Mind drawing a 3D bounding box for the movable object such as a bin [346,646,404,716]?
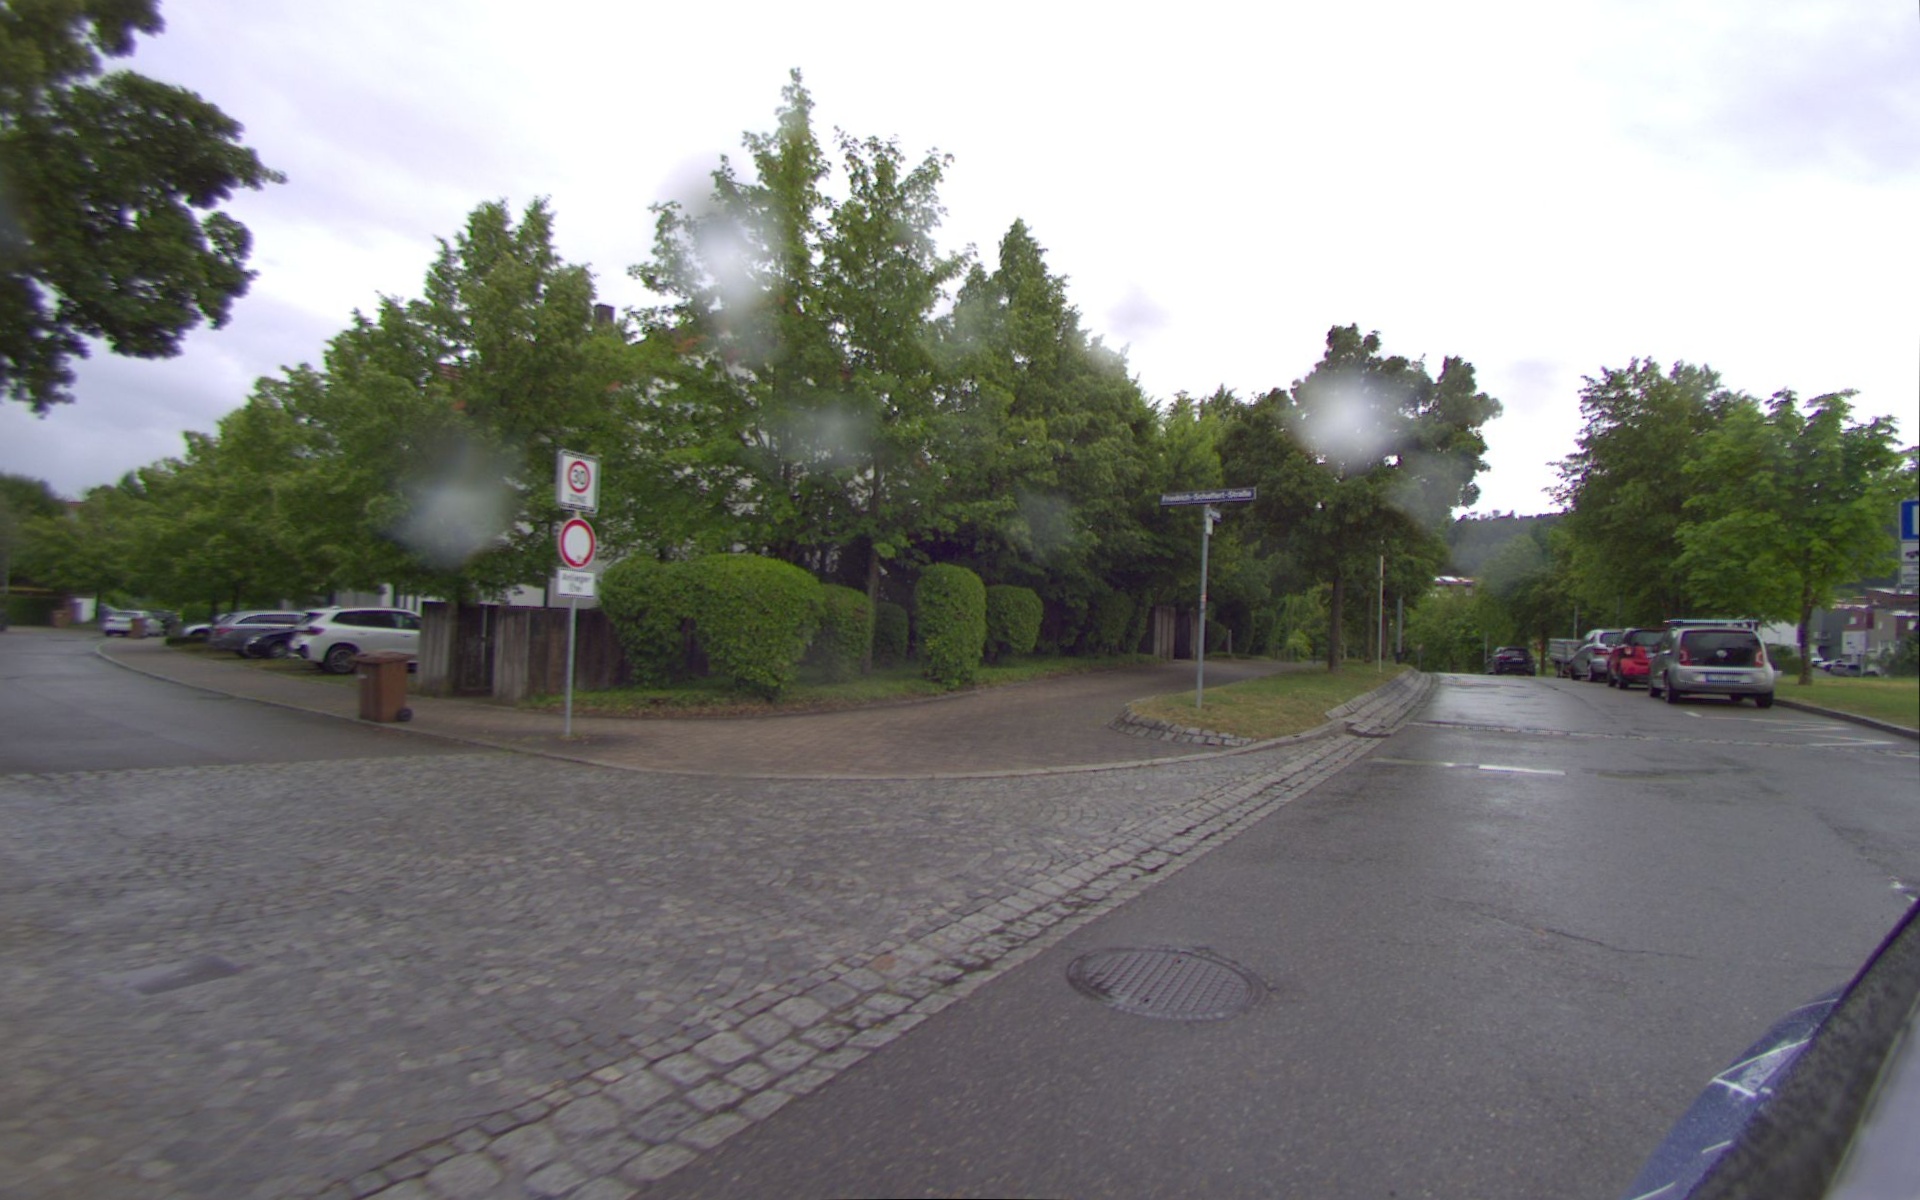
[{"bbox_3d":[-8.235,1.130,14.255,0.528,0.943,0.563,-1,-3,45],"label":"movable object such as a bin"}]

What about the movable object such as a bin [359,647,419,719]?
[{"bbox_3d":[-7.826,1.125,13.868,0.528,0.943,0.563,-1,-3,45],"label":"movable object such as a bin"}]

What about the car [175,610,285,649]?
[{"bbox_3d":[-33.631,1.345,46.687,3.932,1.685,1.775,0,0,-43],"label":"car"}]

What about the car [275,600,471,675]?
[{"bbox_3d":[-14.538,0.868,25.190,3.932,1.685,1.775,0,0,-43],"label":"car"}]

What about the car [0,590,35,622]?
[{"bbox_3d":[-57.925,0.352,61.210,1.762,1.833,3.856,2,-1,-24],"label":"car"}]

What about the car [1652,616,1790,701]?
[{"bbox_3d":[14.866,1.087,19.956,1.665,1.498,3.517,0,-1,29],"label":"car"}]

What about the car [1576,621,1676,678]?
[{"bbox_3d":[20.050,1.475,30.617,1.831,1.572,3.956,1,-2,23],"label":"car"}]

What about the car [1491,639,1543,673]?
[{"bbox_3d":[29.756,3.023,54.163,1.939,1.628,3.969,1,-4,21],"label":"car"}]

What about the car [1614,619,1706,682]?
[{"bbox_3d":[17.347,1.240,25.193,1.540,1.455,2.981,0,-2,28],"label":"car"}]

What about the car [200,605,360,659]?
[{"bbox_3d":[-21.320,0.950,31.810,3.932,1.553,1.775,0,0,-43],"label":"car"}]

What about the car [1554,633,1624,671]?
[{"bbox_3d":[23.602,1.913,38.080,1.714,1.297,3.302,1,-2,23],"label":"car"}]

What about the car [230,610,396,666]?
[{"bbox_3d":[-19.258,1.077,30.201,3.932,1.547,1.775,0,0,-43],"label":"car"}]

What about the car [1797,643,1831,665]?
[{"bbox_3d":[132.476,8.307,157.043,2.112,3.267,5.058,0,-1,18],"label":"car"}]
